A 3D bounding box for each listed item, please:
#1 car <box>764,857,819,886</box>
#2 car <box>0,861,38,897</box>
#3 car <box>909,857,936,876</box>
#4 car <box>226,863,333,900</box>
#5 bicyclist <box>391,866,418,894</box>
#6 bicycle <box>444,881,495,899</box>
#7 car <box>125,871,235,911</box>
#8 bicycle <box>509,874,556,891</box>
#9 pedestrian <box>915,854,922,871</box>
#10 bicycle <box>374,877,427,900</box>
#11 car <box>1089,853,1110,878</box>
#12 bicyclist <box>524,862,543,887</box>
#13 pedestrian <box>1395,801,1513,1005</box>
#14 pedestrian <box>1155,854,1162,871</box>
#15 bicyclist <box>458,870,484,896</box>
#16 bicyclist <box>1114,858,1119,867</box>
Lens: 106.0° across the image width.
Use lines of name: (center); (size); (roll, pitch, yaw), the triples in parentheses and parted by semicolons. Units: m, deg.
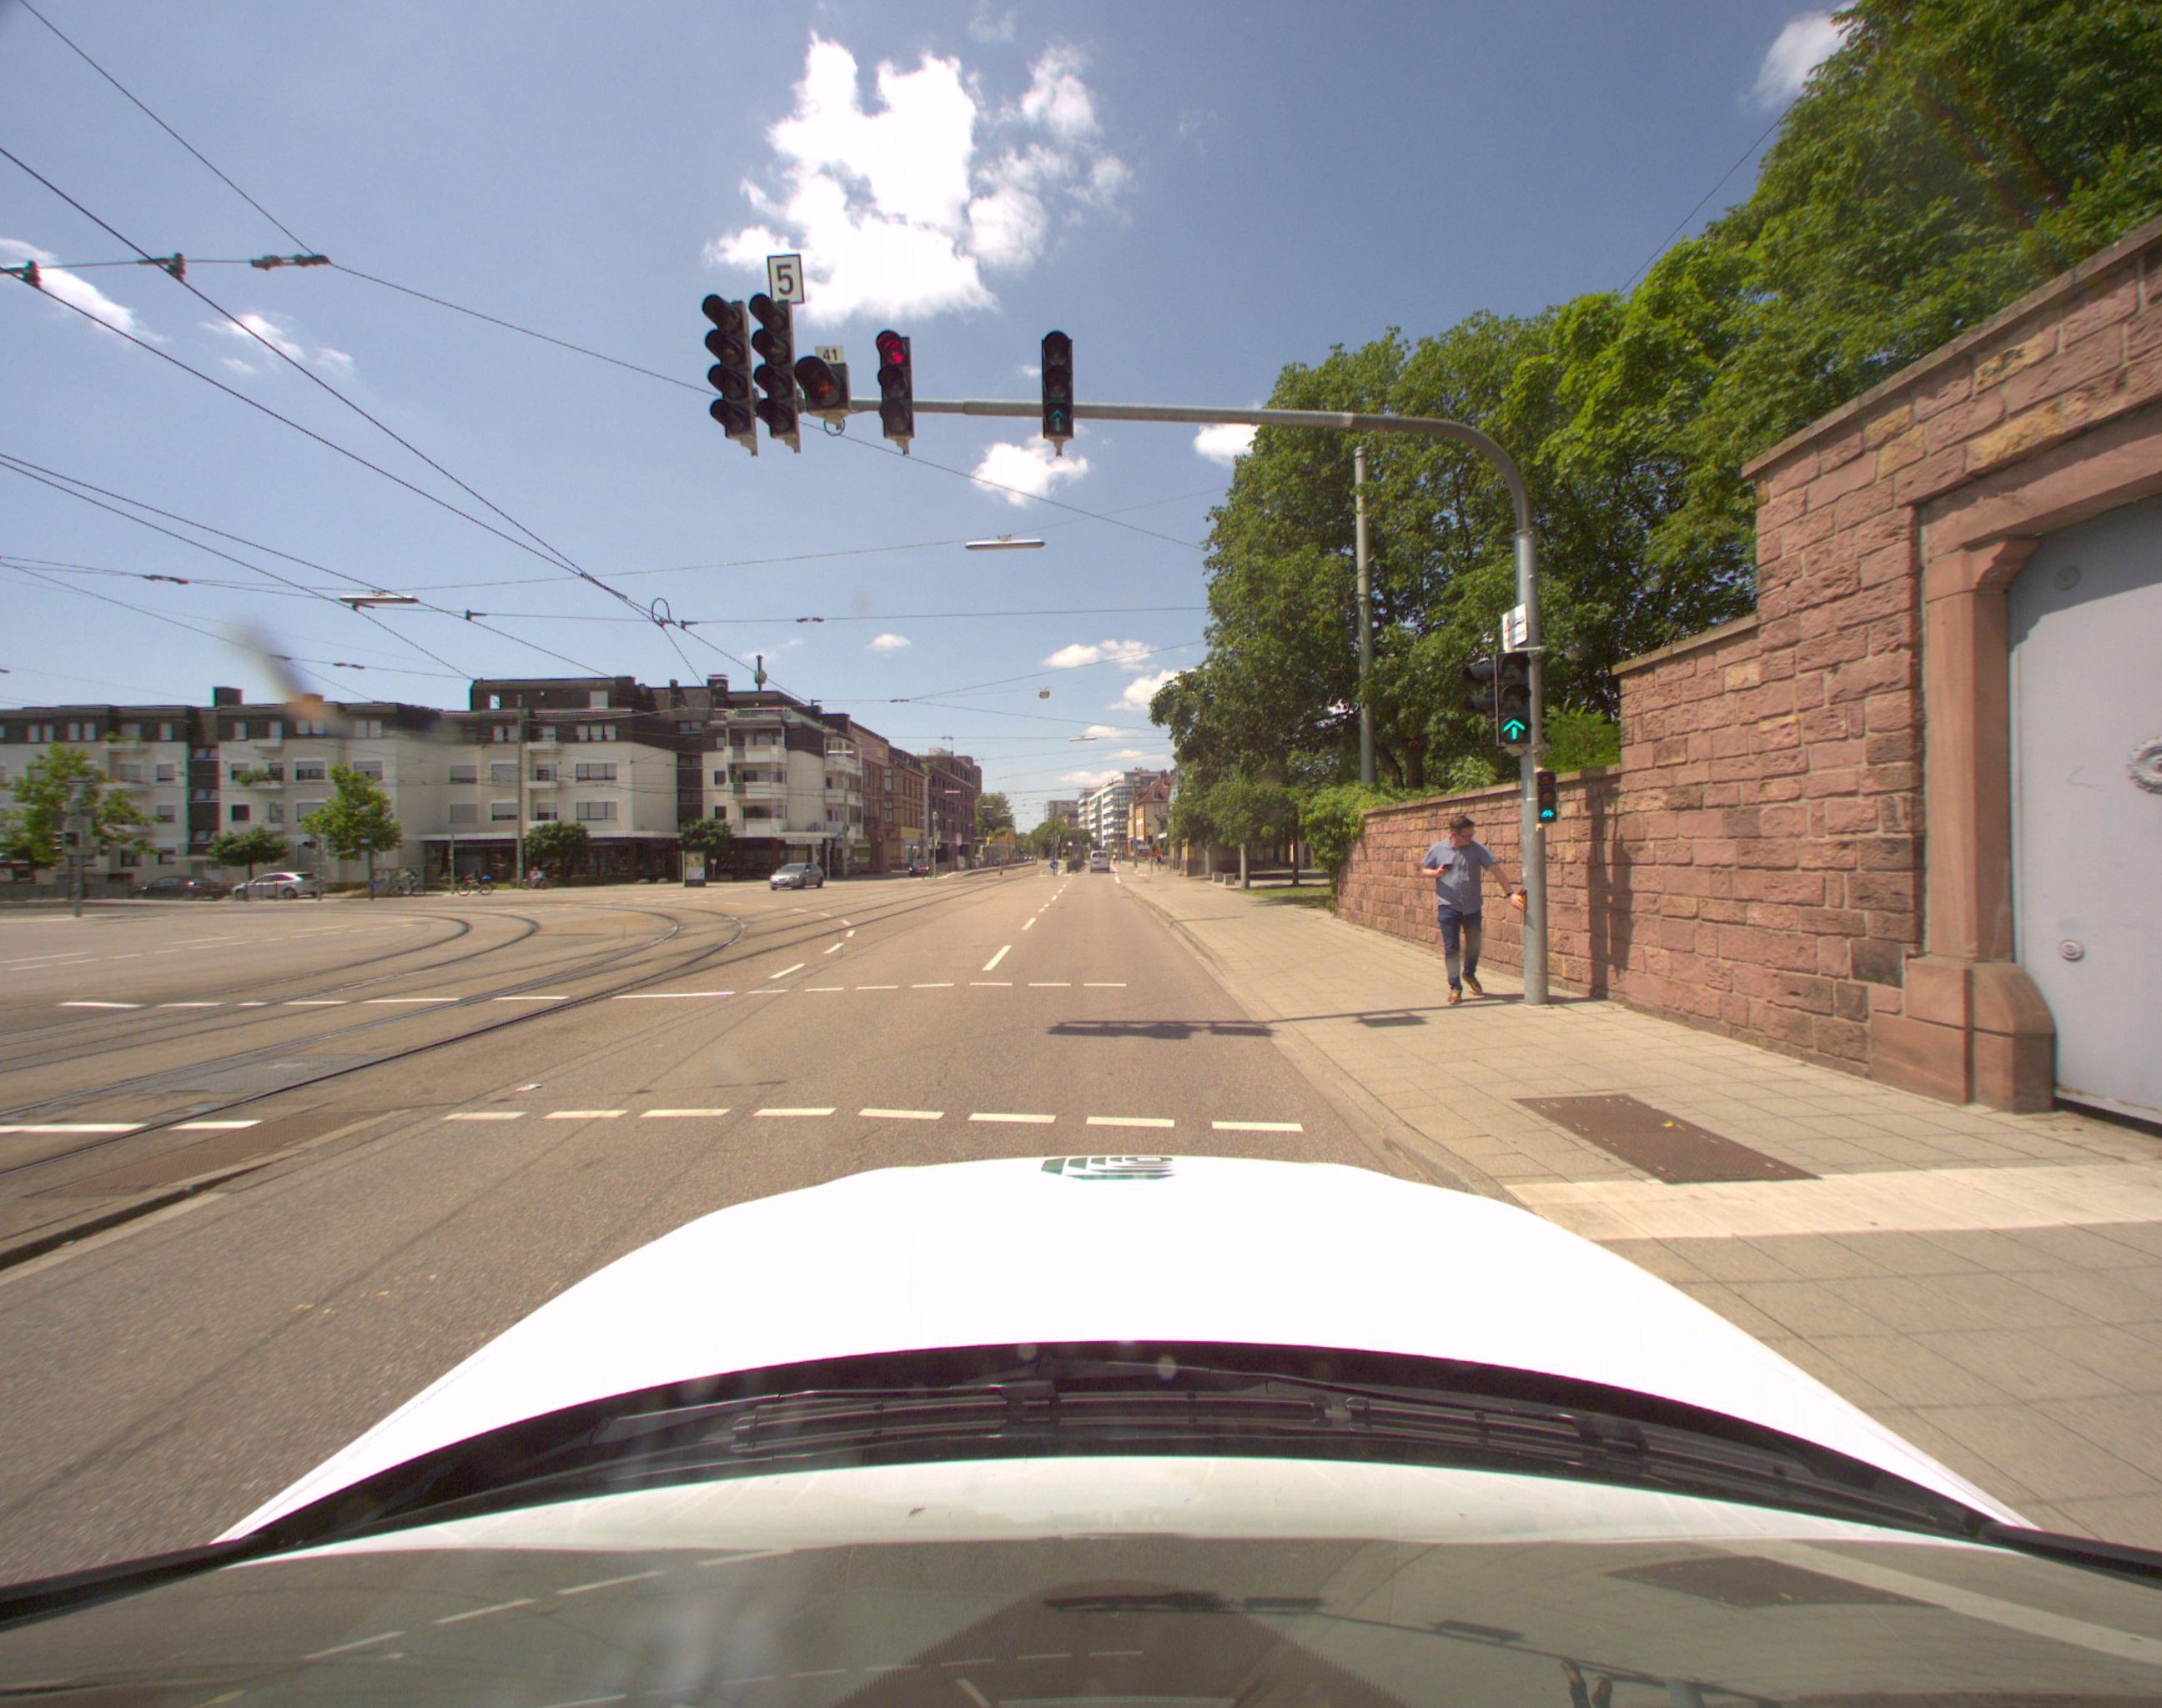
car: (-16.085, 0.949, 45.427); (1.992, 1.471, 4.389); (-1, 0, -8)
car: (-62.603, 1.484, 46.369); (3.971, 2.013, 2.001); (-1, 0, 2)
car: (-14.458, 1.110, 74.298); (1.719, 1.683, 4.276); (-1, 0, -2)
car: (-45.439, 1.542, 46.248); (3.975, 1.912, 1.999); (-1, 0, -1)
bicyclist: (-37.492, 1.452, 45.127); (0.851, 1.487, 0.734); (-3, -1, -12)
bicycle: (-34.451, 2.049, 45.887); (2.255, 0.881, 0.416); (-3, -1, -17)
car: (-51.586, 2.099, 46.710); (3.975, 2.014, 1.999); (-3, -1, -1)
bicycle: (-33.847, 1.745, 50.294); (2.261, 0.935, 0.666); (-2, -1, -24)
pedestrian: (-19.911, 1.040, 99.904); (0.616, 2.014, 0.810); (0, -1, -1)
bicycle: (-37.654, 1.900, 45.071); (2.252, 1.101, 0.515); (-3, -1, -13)
car: (1.612, 1.000, 70.740); (1.746, 2.013, 4.001); (-2, 1, 1)
bicyclist: (-33.813, 1.280, 50.319); (0.850, 1.468, 0.651); (-2, -1, -25)
pedestrian: (3.630, 0.464, 8.002); (0.711, 1.852, 0.769); (-5, -1, 7)
pedestrian: (7.183, 0.794, 75.776); (0.574, 1.556, 0.786); (-3, -1, 4)
bicyclist: (-34.394, 1.612, 45.921); (0.964, 1.422, 0.627); (-2, -1, -17)
bicyclist: (5.656, 1.371, 129.416); (0.590, 1.397, 0.841); (-1, 0, -3)
